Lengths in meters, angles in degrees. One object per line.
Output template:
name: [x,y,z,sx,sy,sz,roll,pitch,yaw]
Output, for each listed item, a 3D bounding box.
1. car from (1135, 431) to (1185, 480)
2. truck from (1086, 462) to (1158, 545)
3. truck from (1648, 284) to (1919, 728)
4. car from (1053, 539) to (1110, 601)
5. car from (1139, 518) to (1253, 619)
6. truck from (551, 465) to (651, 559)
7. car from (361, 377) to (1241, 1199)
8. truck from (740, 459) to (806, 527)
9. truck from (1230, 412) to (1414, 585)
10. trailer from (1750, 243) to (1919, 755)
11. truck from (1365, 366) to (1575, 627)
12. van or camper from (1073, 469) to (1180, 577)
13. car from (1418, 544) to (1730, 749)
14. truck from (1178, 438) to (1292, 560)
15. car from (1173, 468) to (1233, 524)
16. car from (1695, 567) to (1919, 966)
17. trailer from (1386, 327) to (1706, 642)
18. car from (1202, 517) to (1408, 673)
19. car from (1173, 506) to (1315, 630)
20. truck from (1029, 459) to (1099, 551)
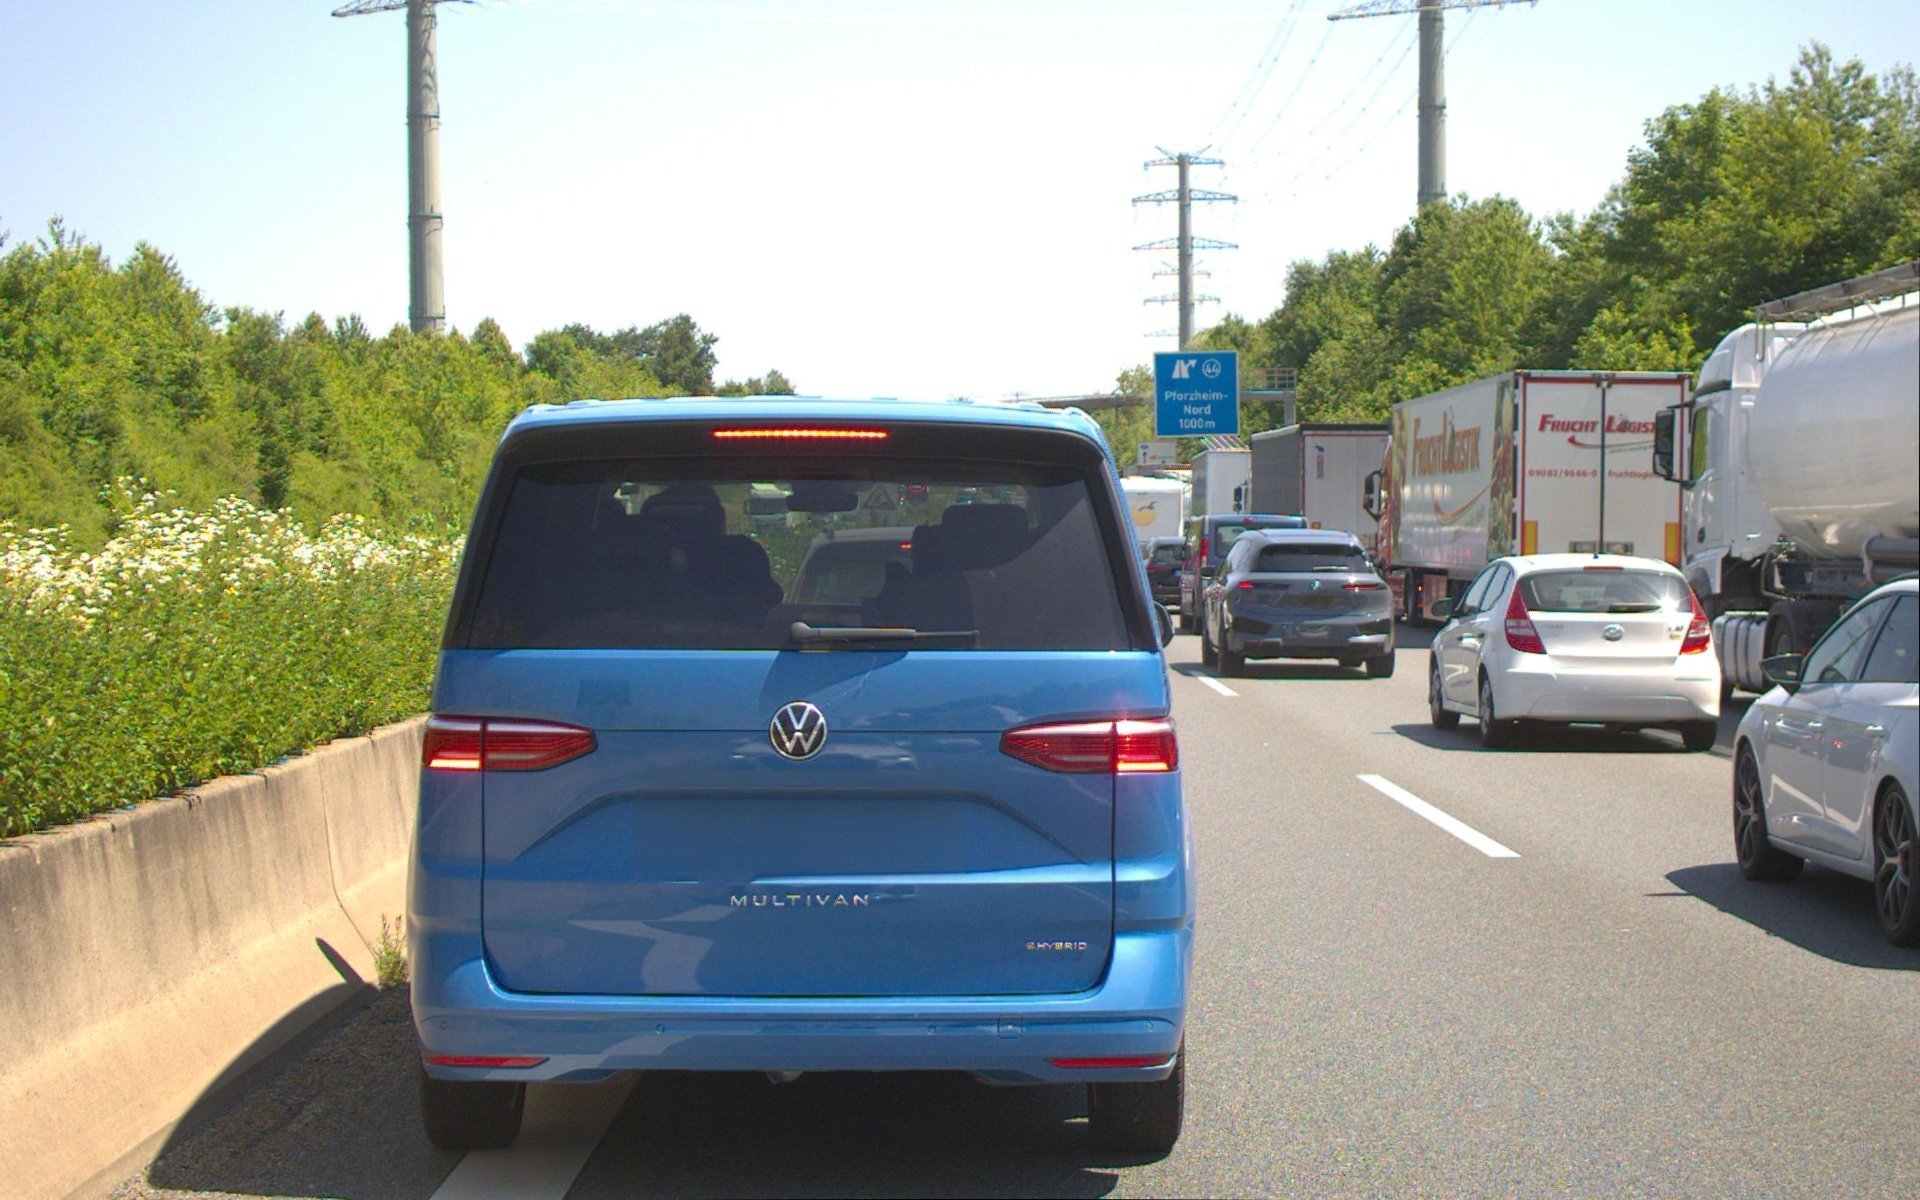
car: [8.764,-6.338,150.806,1.993,2.007,4.000,-1,0,0]
truck: [9.204,-5.425,196.374,3.566,4.502,10.294,-1,0,0]
truck: [8.525,-0.864,32.597,2.793,3.823,5.572,-1,1,0]
car: [4.055,-0.994,115.489,1.836,1.992,4.000,-2,0,2]
car: [4.762,-0.621,69.920,1.923,1.919,4.236,-2,0,-1]
truck: [-15.100,-3.683,145.313,2.911,3.806,11.944,1,1,0]
car: [-0.346,0.422,9.563,1.920,1.880,4.000,1,1,0]
truck: [-10.902,-6.230,201.601,3.172,3.806,11.944,1,1,0]
truck: [8.516,-2.285,82.936,3.006,3.753,15.712,-1,0,1]
trailer: [8.573,-0.762,25.259,2.761,3.831,11.487,-1,1,0]
truck: [9.090,-1.815,61.824,2.912,4.453,5.143,-1,1,0]
van or camper: [4.836,-2.212,100.862,2.957,3.011,7.102,0,0,2]
car: [4.779,0.339,27.268,1.817,1.480,4.000,-1,0,1]
truck: [9.025,-3.249,114.280,2.895,3.753,13.344,-1,0,1]
car: [9.170,-3.931,130.156,1.993,2.007,4.000,-1,0,0]
car: [4.344,0.582,14.131,1.747,1.438,4.313,-1,0,1]
trailer: [9.123,-1.731,55.192,2.912,4.453,12.155,-1,1,0]
car: [4.019,-0.061,40.727,1.999,1.709,4.625,-1,0,1]
car: [4.674,-0.518,57.115,1.923,1.919,4.236,-2,0,-1]
truck: [4.456,-4.045,149.032,2.895,3.753,10.140,-1,0,1]
